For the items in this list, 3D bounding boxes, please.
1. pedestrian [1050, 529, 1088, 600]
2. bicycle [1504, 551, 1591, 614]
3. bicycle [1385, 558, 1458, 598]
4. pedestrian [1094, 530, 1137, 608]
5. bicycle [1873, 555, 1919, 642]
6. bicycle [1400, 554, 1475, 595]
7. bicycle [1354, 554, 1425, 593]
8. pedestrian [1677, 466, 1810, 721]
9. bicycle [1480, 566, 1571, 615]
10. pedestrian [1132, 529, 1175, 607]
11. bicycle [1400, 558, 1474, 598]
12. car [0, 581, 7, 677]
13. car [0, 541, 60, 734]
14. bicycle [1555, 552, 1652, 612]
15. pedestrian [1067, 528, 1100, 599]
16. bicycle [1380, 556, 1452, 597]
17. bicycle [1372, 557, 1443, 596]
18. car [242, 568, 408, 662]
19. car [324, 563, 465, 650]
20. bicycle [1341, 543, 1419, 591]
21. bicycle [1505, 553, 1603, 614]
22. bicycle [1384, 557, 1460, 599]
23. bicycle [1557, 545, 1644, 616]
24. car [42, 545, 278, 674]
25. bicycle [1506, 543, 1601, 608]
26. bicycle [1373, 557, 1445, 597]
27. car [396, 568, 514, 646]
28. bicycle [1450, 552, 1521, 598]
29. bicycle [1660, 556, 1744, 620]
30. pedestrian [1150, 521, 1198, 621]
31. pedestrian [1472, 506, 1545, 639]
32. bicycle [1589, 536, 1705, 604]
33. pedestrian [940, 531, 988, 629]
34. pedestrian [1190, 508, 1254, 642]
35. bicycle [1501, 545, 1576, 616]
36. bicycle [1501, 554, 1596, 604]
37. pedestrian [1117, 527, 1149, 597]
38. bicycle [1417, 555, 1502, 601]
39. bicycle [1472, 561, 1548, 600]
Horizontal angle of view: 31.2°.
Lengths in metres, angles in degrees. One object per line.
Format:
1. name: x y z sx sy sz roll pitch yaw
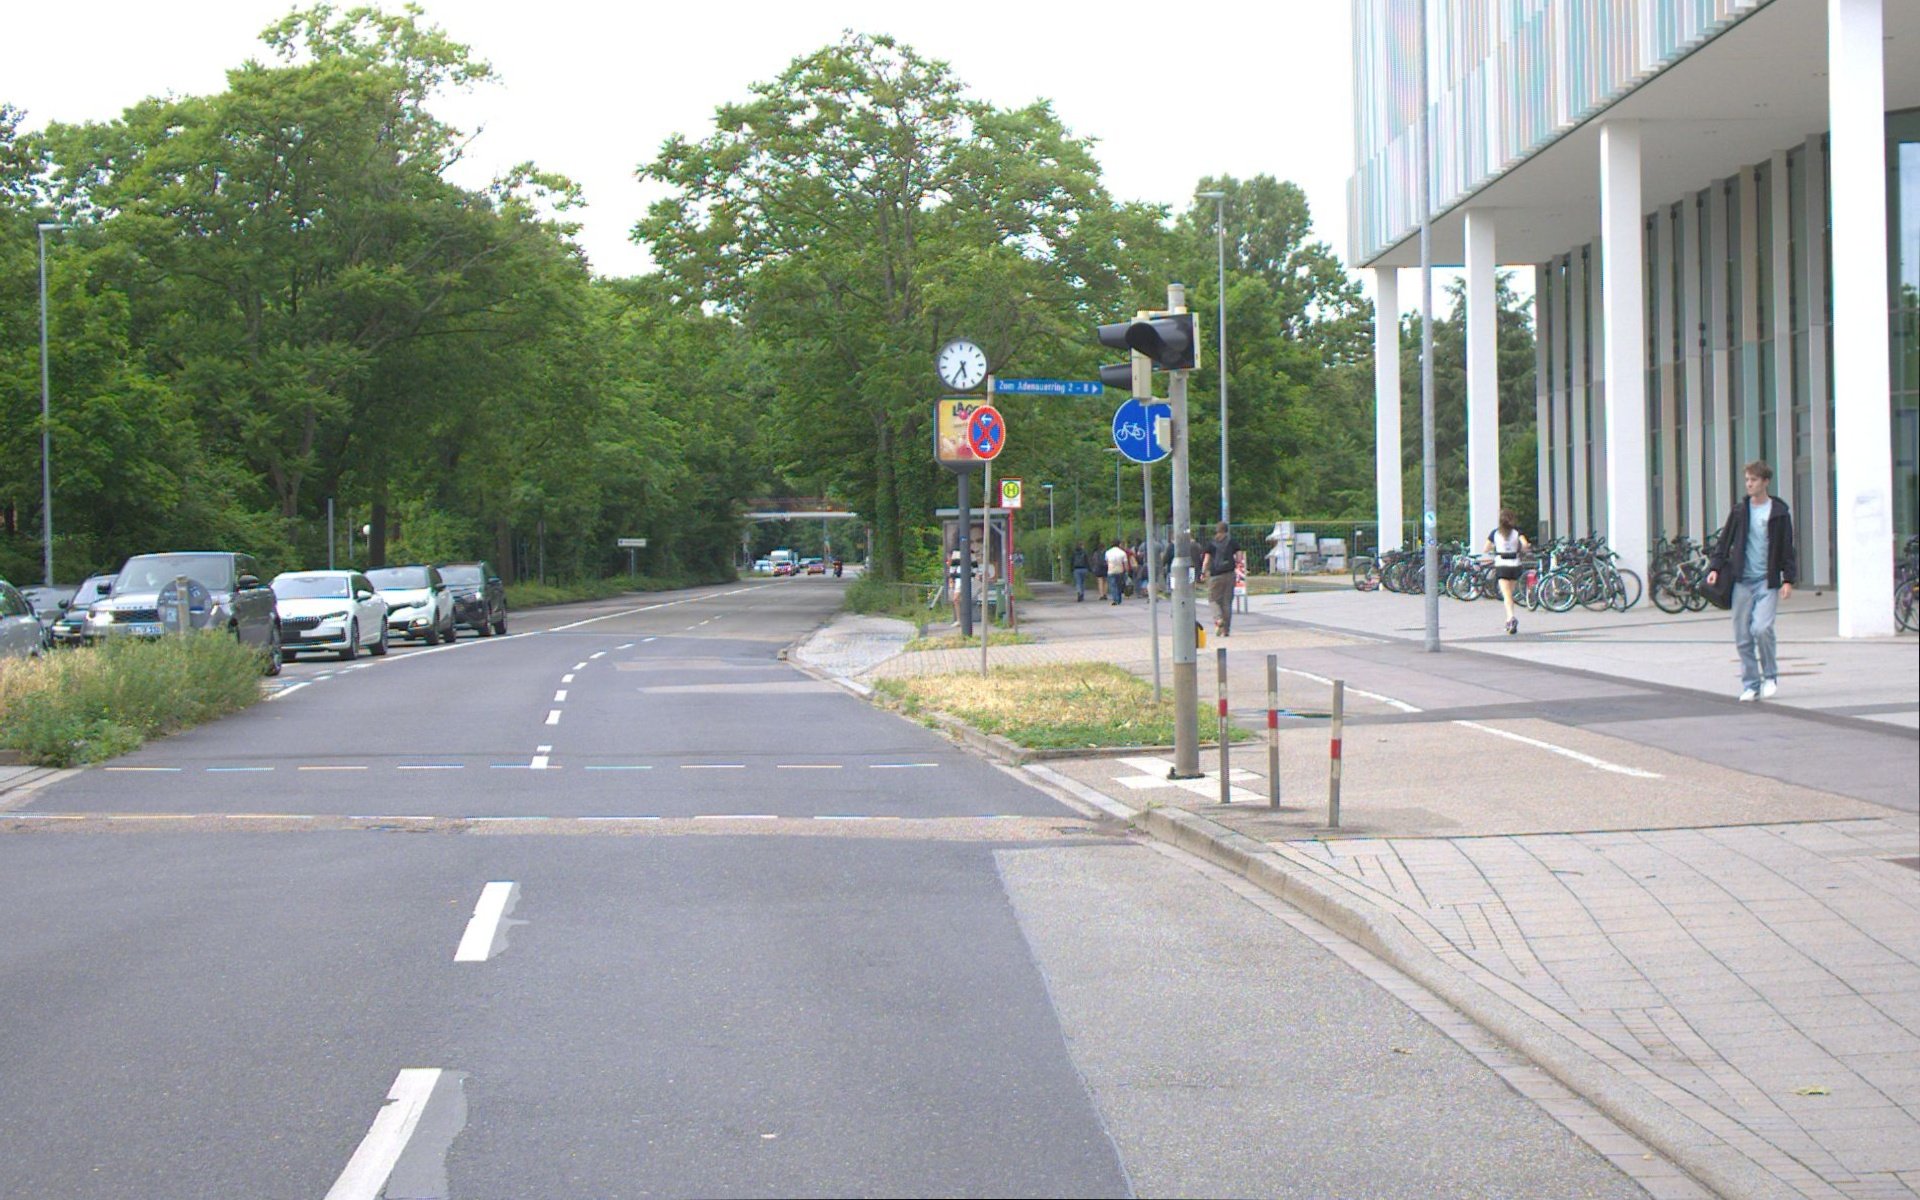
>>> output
1. pedestrian: 3.121 -1.028 98.897 0.925 2.007 1.040 -2 1 -5
2. bicycle: 10.479 -0.309 61.375 1.400 1.040 0.559 -3 1 0
3. bicycle: 10.795 -0.510 80.383 1.606 0.872 0.556 -2 1 0
4. pedestrian: 4.037 -0.812 89.387 0.925 2.007 1.040 -2 1 -5
5. bicycle: 11.854 -0.026 42.726 0.638 1.058 1.840 1 1 4
6. bicycle: 10.817 -0.578 77.922 1.606 0.872 0.556 -2 1 0
7. bicycle: 10.358 -0.646 82.944 1.606 0.872 0.556 -2 1 0
8. pedestrian: 6.321 -0.058 27.776 0.842 2.007 0.894 -1 1 1
9. bicycle: 10.657 -0.188 64.780 1.606 0.872 0.556 -2 1 0
10. pedestrian: 5.011 -0.831 89.233 0.925 2.007 1.040 -2 1 -5
11. bicycle: 10.987 -0.506 79.194 1.606 0.872 0.556 -2 1 0
12. car: -16.961 0.497 55.397 1.859 1.602 4.593 1 1 1
13. car: -11.004 0.408 36.179 1.993 2.007 4.000 -2 1 -1
14. bicycle: 11.314 -0.314 60.462 1.607 0.932 0.568 -4 1 10
15. pedestrian: 3.562 -1.056 99.037 0.824 2.007 0.720 -2 1 -5
16. bicycle: 9.917 -0.520 74.766 1.454 0.836 0.556 -2 1 0
17. bicycle: 10.671 -0.566 81.985 1.606 0.872 0.556 -2 1 0
18. car: -10.511 0.212 57.212 1.903 1.460 4.911 1 1 -1
19. car: -10.845 0.102 66.192 1.993 1.541 4.180 -3 1 -1
20. bicycle: 10.374 -0.811 84.940 1.794 1.078 0.626 -4 1 -2
21. bicycle: 10.704 -0.303 61.945 1.606 0.979 0.556 -4 1 0
22. bicycle: 9.881 -0.472 73.534 1.532 0.831 0.556 -2 1 0
23. bicycle: 10.235 -0.312 54.980 0.607 1.076 1.963 -4 1 -12
24. car: -10.911 0.083 47.250 1.993 1.681 4.948 0 1 1
25. bicycle: 10.964 -0.449 63.528 1.645 1.087 0.572 -4 0 8
26. bicycle: 10.621 -0.552 81.399 1.606 0.872 0.556 -3 1 0
27. car: -10.961 0.121 74.857 1.903 1.588 4.517 -2 1 -1
28. bicycle: 10.435 -0.498 68.311 1.283 0.872 0.556 -2 1 0
29. bicycle: 11.508 -0.189 53.290 1.484 0.926 0.440 -3 3 -39
30. pedestrian: 4.343 -0.587 69.894 0.842 2.007 0.894 -1 1 -2
31. pedestrian: 7.688 -0.386 48.227 0.842 1.829 0.894 -1 1 0
32. bicycle: 12.710 -0.554 63.612 1.986 1.140 0.647 -3 1 41
33. pedestrian: 0.082 -0.433 73.764 0.912 2.006 0.854 -3 3 -1
34. pedestrian: 4.046 -0.393 53.147 0.842 2.007 0.894 -3 1 1
35. bicycle: 9.709 -0.326 57.784 0.635 1.136 2.201 -4 1 -5
36. bicycle: 10.699 -0.384 62.522 1.606 0.872 0.556 -1 1 0
37. pedestrian: 4.985 -1.101 99.235 0.824 2.007 0.720 -2 0 -1
38. bicycle: 10.034 -0.445 69.057 1.606 0.872 0.556 -2 1 0
39. bicycle: 11.232 -0.396 70.222 1.434 0.743 0.556 -2 1 0
